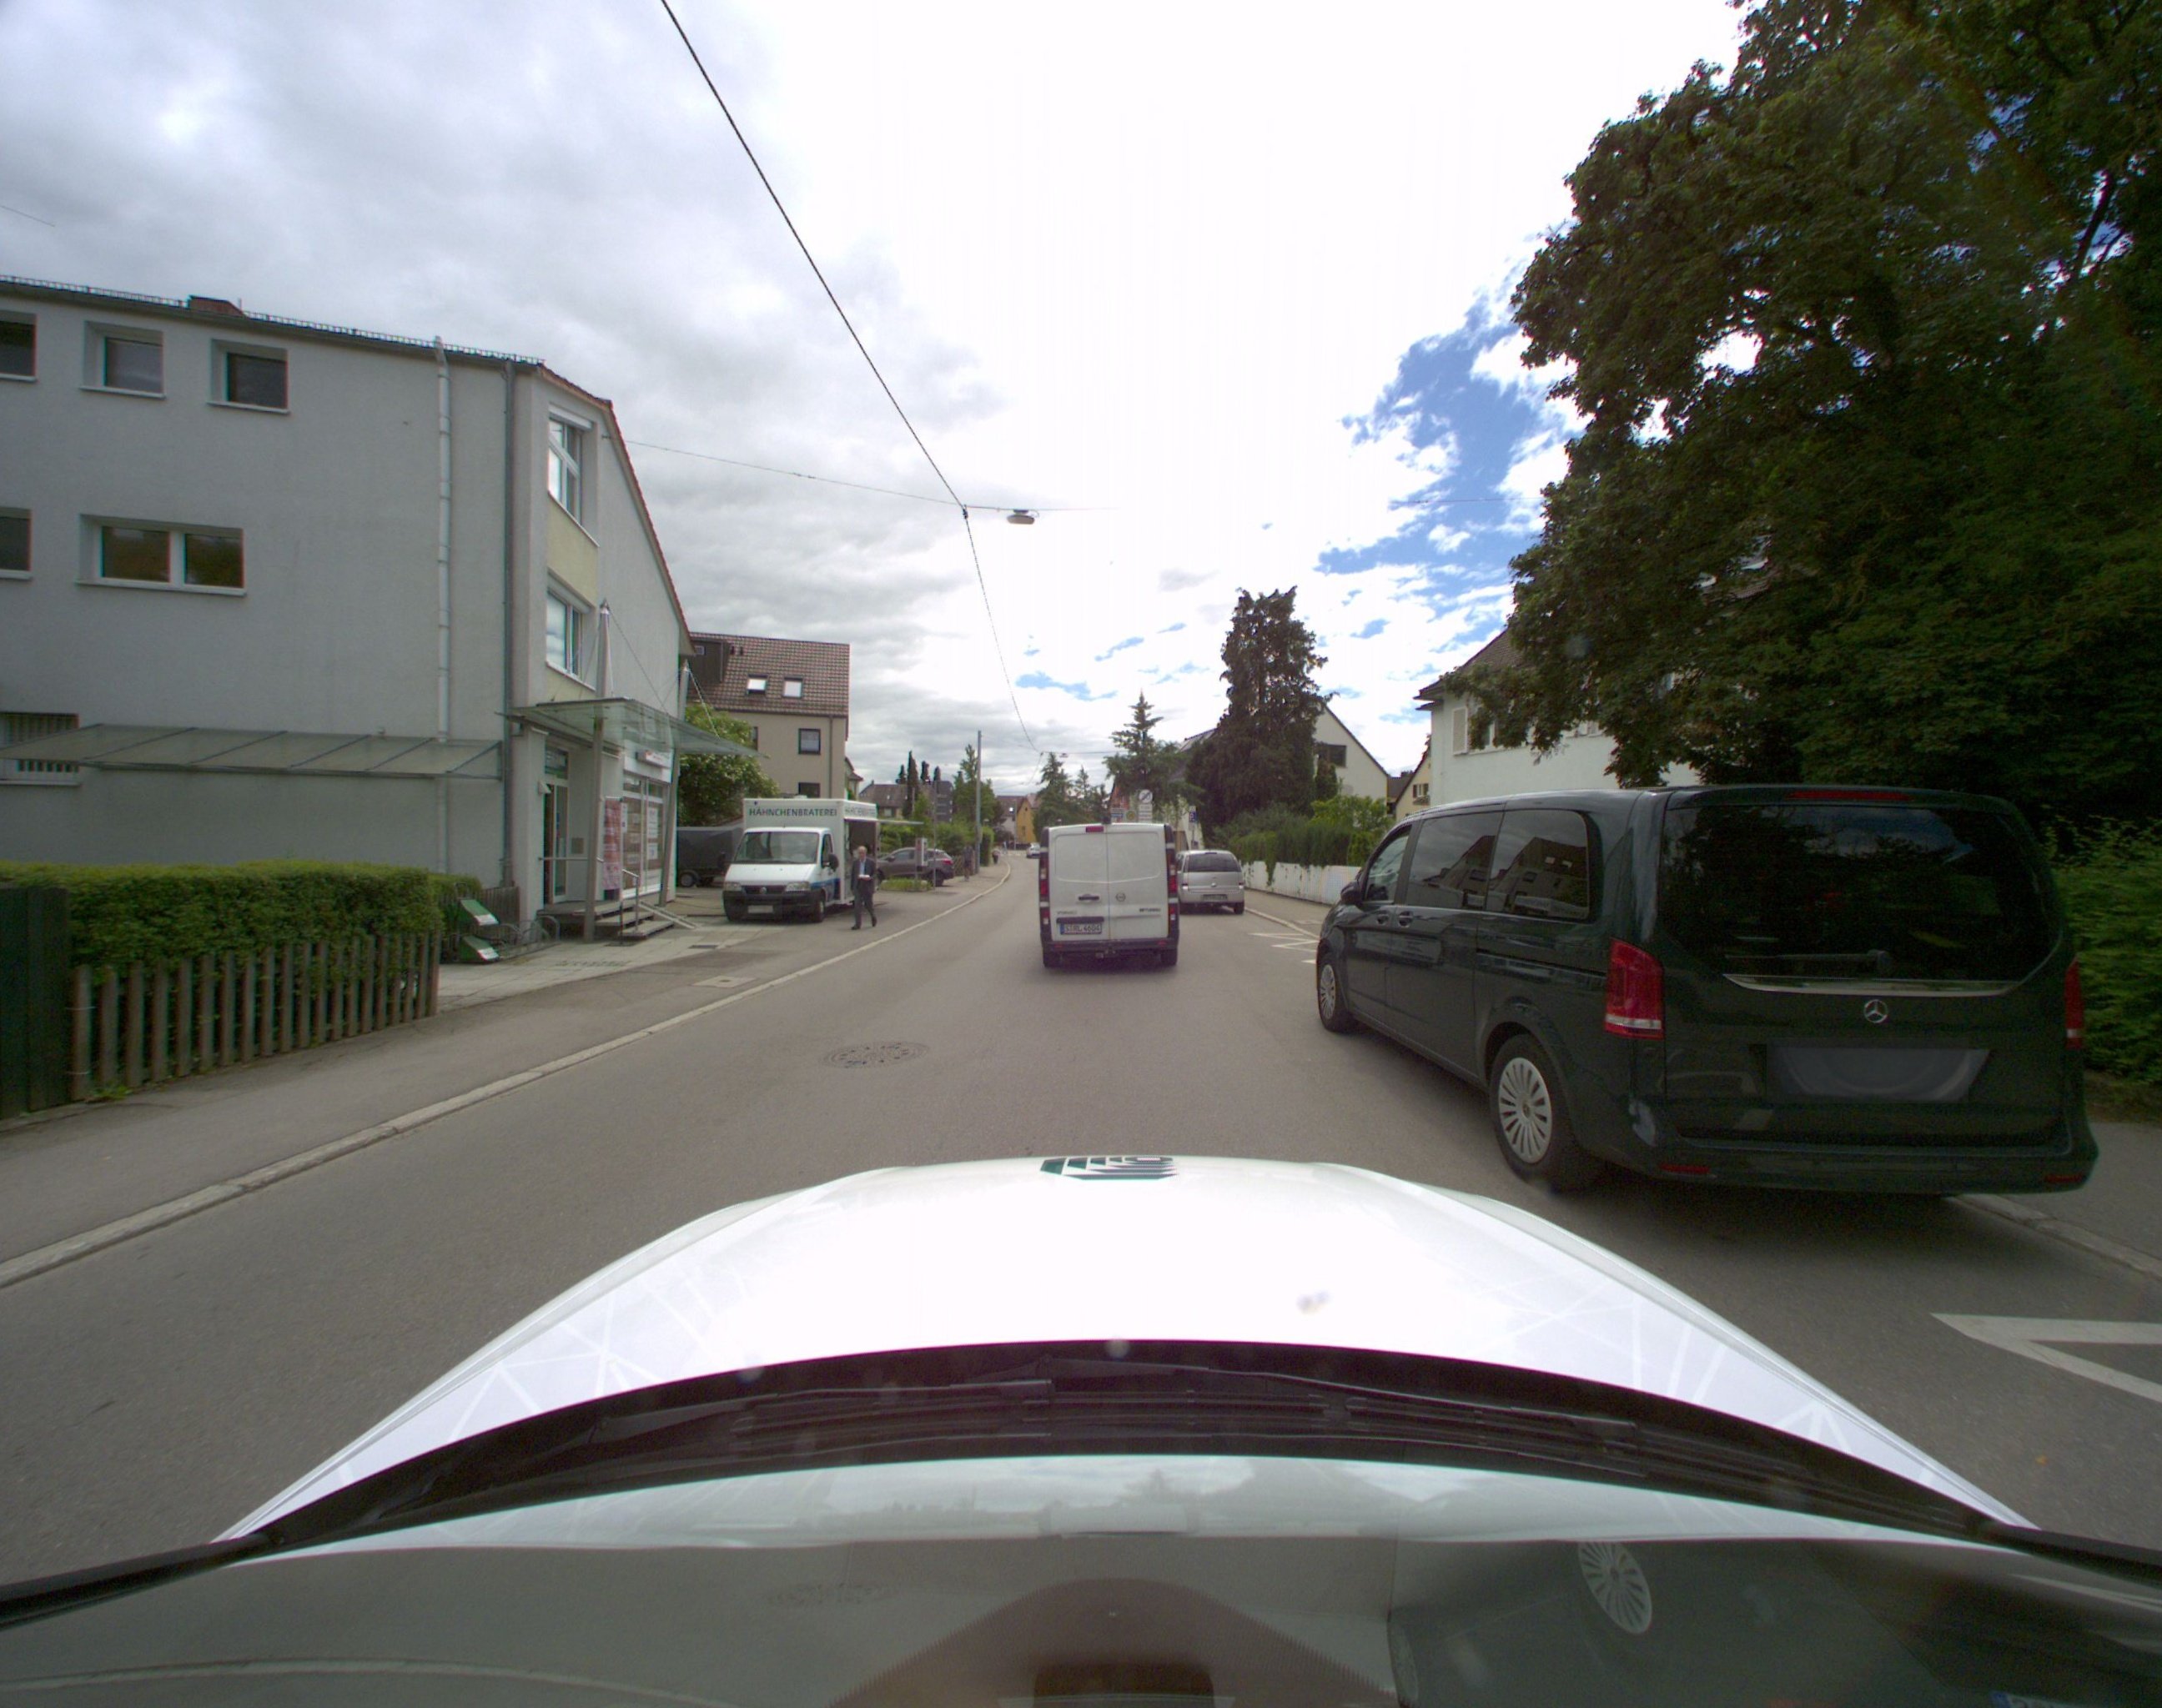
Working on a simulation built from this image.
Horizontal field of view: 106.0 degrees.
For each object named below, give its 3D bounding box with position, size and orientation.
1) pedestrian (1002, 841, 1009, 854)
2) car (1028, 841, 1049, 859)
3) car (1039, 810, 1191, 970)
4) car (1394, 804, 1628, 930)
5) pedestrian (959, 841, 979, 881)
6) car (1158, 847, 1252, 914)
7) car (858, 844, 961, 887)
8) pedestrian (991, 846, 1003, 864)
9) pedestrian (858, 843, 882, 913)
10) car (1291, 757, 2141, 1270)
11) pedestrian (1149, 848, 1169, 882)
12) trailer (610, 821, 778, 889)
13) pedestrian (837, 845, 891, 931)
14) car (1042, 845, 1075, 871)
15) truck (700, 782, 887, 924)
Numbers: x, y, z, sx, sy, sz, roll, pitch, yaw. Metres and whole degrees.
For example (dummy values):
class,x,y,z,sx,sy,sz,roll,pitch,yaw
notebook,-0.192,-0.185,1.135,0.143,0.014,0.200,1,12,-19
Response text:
class,x,y,z,sx,sy,sz,roll,pitch,yaw
pedestrian,-9.328,-0.801,100.731,0.805,1.609,0.625,2,0,-12
car,-4.561,-0.426,87.547,1.991,1.782,3.991,-1,0,-7
car,0.352,0.452,12.523,1.911,2.002,4.434,0,0,-2
car,10.461,0.285,20.452,2.498,2.682,5.168,2,0,-10
pedestrian,-5.606,0.362,40.799,0.730,1.946,1.218,2,0,2
car,3.193,0.635,21.711,1.755,1.582,4.015,-1,0,-2
car,-7.628,0.494,36.251,4.316,1.695,1.790,2,0,-14
pedestrian,-7.163,0.110,69.678,0.880,1.485,0.451,3,0,-27
pedestrian,-5.220,0.595,20.160,0.400,1.695,0.596,2,0,-4
car,2.993,0.580,5.566,1.902,1.848,5.159,1,0,2
pedestrian,3.875,0.552,40.669,0.851,1.645,0.883,2,0,-1
trailer,-13.217,0.022,28.051,4.854,2.080,1.701,2,1,-5
pedestrian,-4.492,0.686,16.930,0.720,1.686,1.110,2,0,2
car,-1.675,0.286,59.276,1.991,1.848,3.991,0,0,-7
truck,-6.592,-0.029,19.783,2.468,2.840,6.699,1,0,-4
